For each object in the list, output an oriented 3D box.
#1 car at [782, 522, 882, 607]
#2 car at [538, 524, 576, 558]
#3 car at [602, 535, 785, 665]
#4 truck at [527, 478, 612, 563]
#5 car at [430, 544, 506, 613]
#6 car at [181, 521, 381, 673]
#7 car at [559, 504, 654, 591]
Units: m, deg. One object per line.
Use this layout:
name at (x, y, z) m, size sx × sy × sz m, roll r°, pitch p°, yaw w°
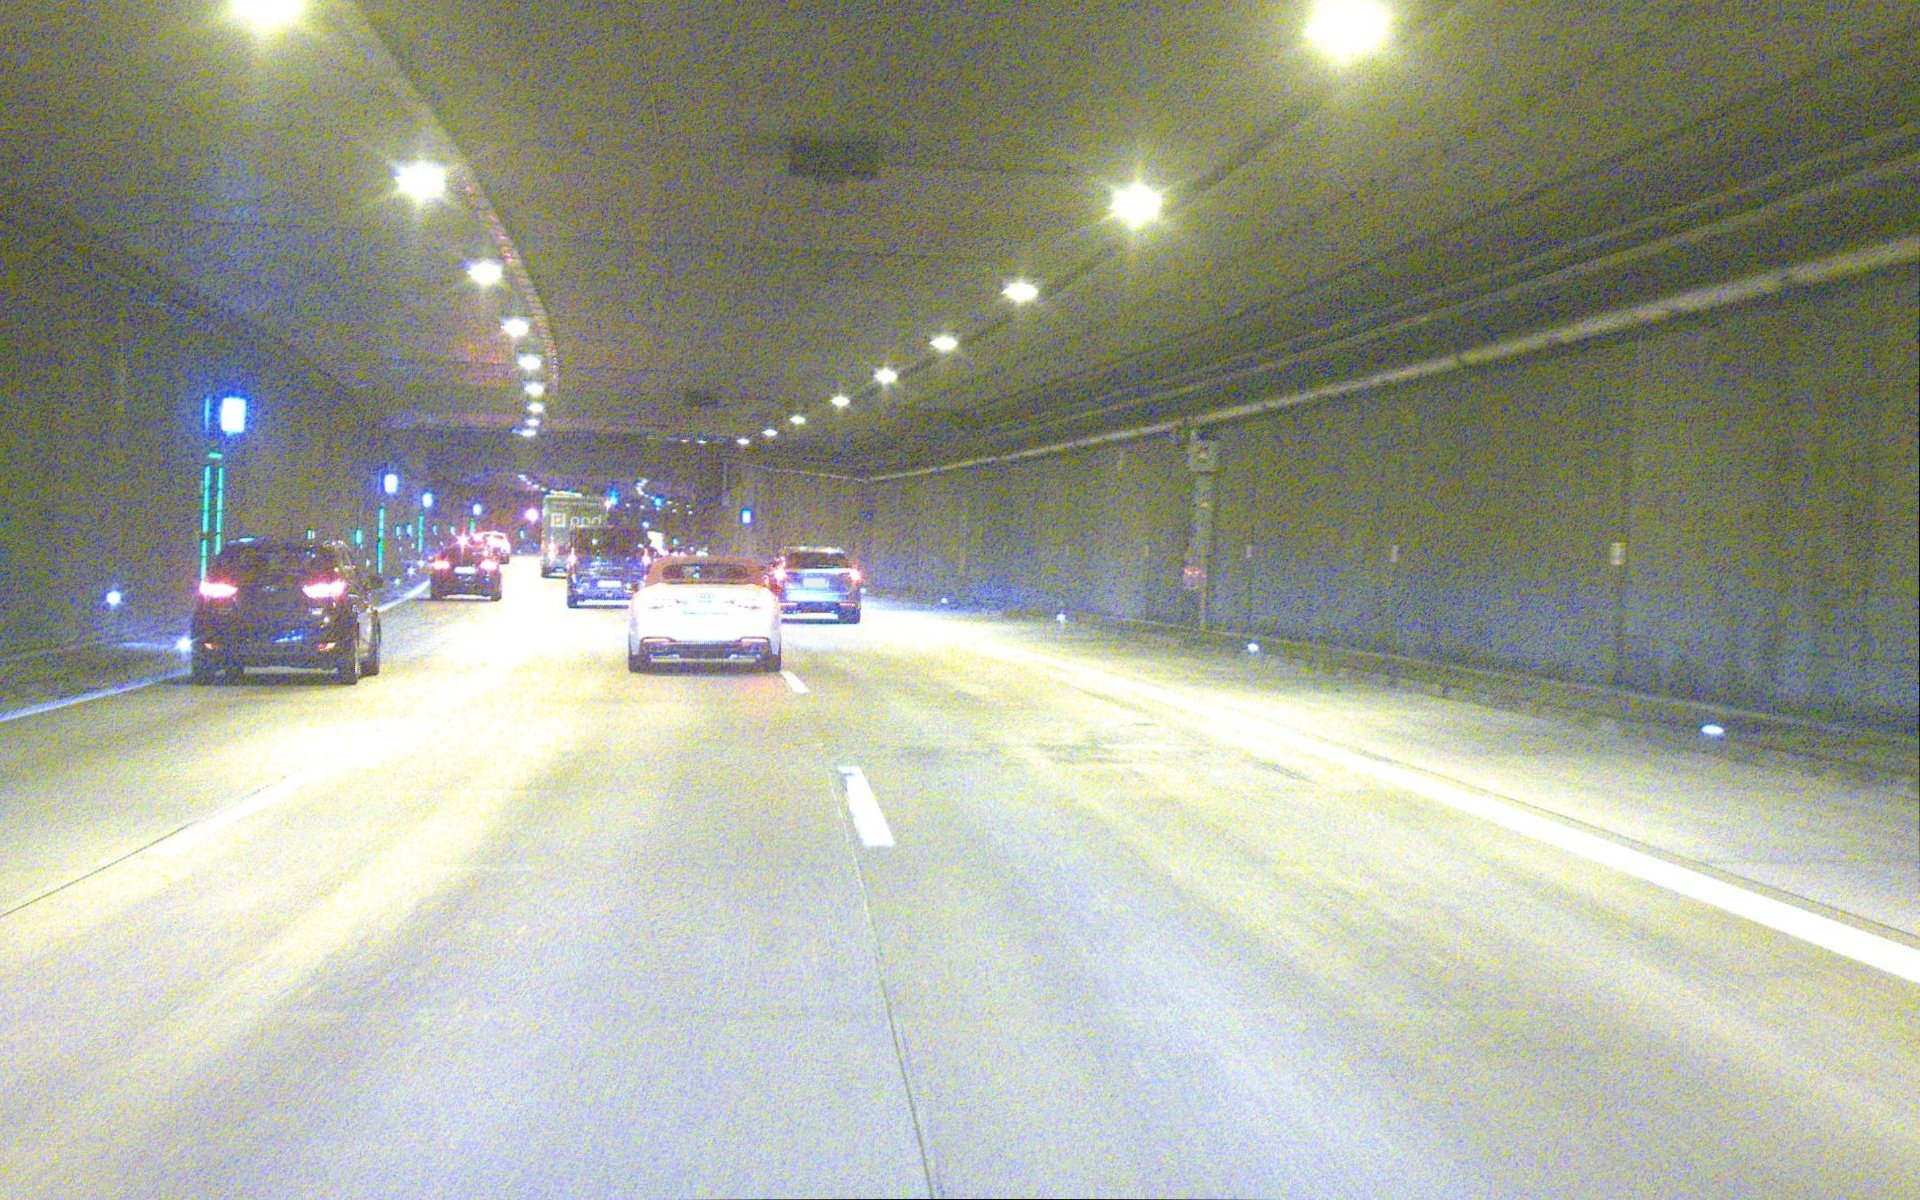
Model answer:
car at (-2.534, -0.696, 67.455) m, size 1.839 × 1.597 × 4.001 m, roll 1°, pitch 1°, yaw -3°
car at (-21.941, -3.186, 187.269) m, size 1.993 × 1.748 × 4.001 m, roll 2°, pitch 0°, yaw -6°
car at (-3.187, -0.037, 41.805) m, size 1.993 × 1.478 × 4.000 m, roll 1°, pitch 1°, yaw -2°
truck at (-15.287, -3.161, 134.815) m, size 3.082 × 3.102 × 10.032 m, roll 2°, pitch 2°, yaw -6°
car at (-12.448, -0.552, 87.192) m, size 1.800 × 1.678 × 4.001 m, roll 1°, pitch 1°, yaw -7°
car at (-7.477, -0.067, 38.147) m, size 1.785 × 1.593 × 3.802 m, roll 0°, pitch 1°, yaw -5°
car at (-8.176, -1.210, 79.734) m, size 1.993 × 1.965 × 4.001 m, roll 1°, pitch 1°, yaw -3°
